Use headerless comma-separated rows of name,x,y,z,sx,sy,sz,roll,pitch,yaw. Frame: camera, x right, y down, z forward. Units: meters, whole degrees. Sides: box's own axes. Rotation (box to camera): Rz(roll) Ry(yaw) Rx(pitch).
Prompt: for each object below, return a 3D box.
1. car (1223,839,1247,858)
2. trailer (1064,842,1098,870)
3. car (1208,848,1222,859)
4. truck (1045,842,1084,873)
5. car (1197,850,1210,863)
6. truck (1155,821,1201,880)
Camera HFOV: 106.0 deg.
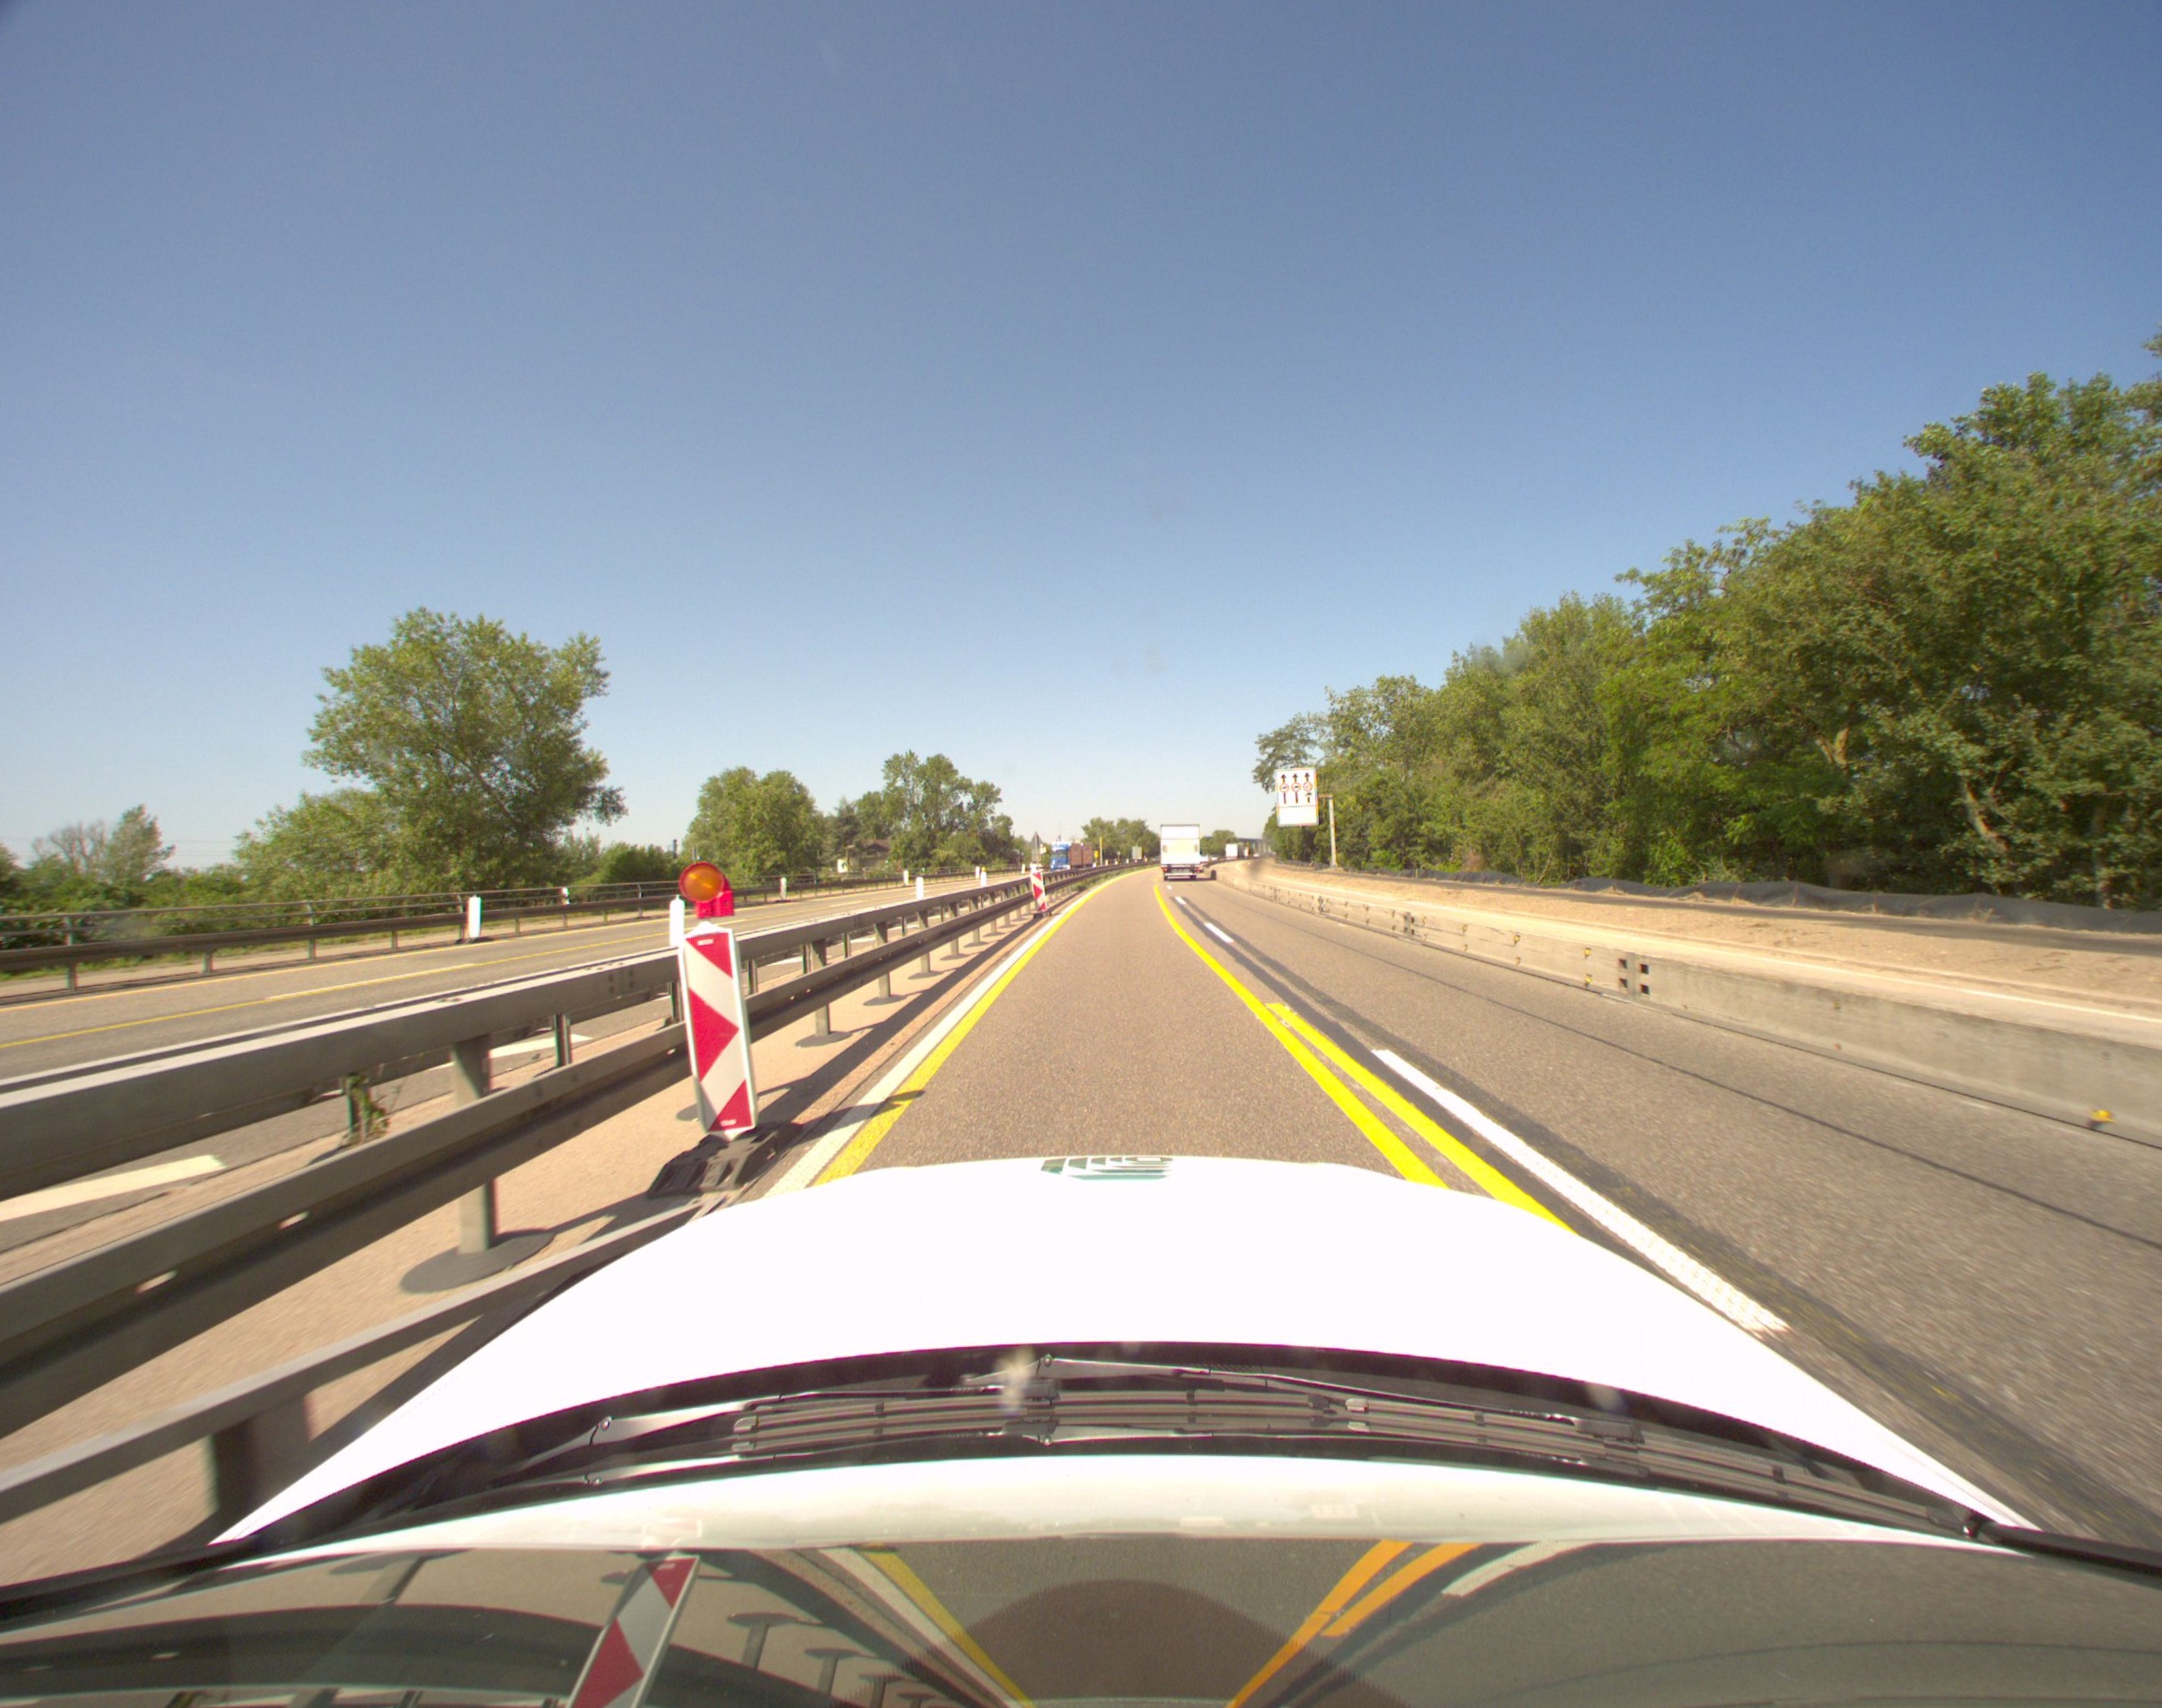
car,37.568,-1.429,198.407,4.173,4.251,10.712,-4,0,18
trailer,0.115,0.274,124.807,3.017,4.091,9.823,-1,0,13
car,26.715,-0.089,162.409,1.978,2.013,4.019,-4,0,18
truck,-2.159,0.413,114.784,3.017,4.091,10.661,-1,0,12
car,21.005,0.394,139.453,1.980,2.013,4.013,-4,0,11
truck,6.028,-0.225,51.489,2.622,3.427,7.242,0,0,4
